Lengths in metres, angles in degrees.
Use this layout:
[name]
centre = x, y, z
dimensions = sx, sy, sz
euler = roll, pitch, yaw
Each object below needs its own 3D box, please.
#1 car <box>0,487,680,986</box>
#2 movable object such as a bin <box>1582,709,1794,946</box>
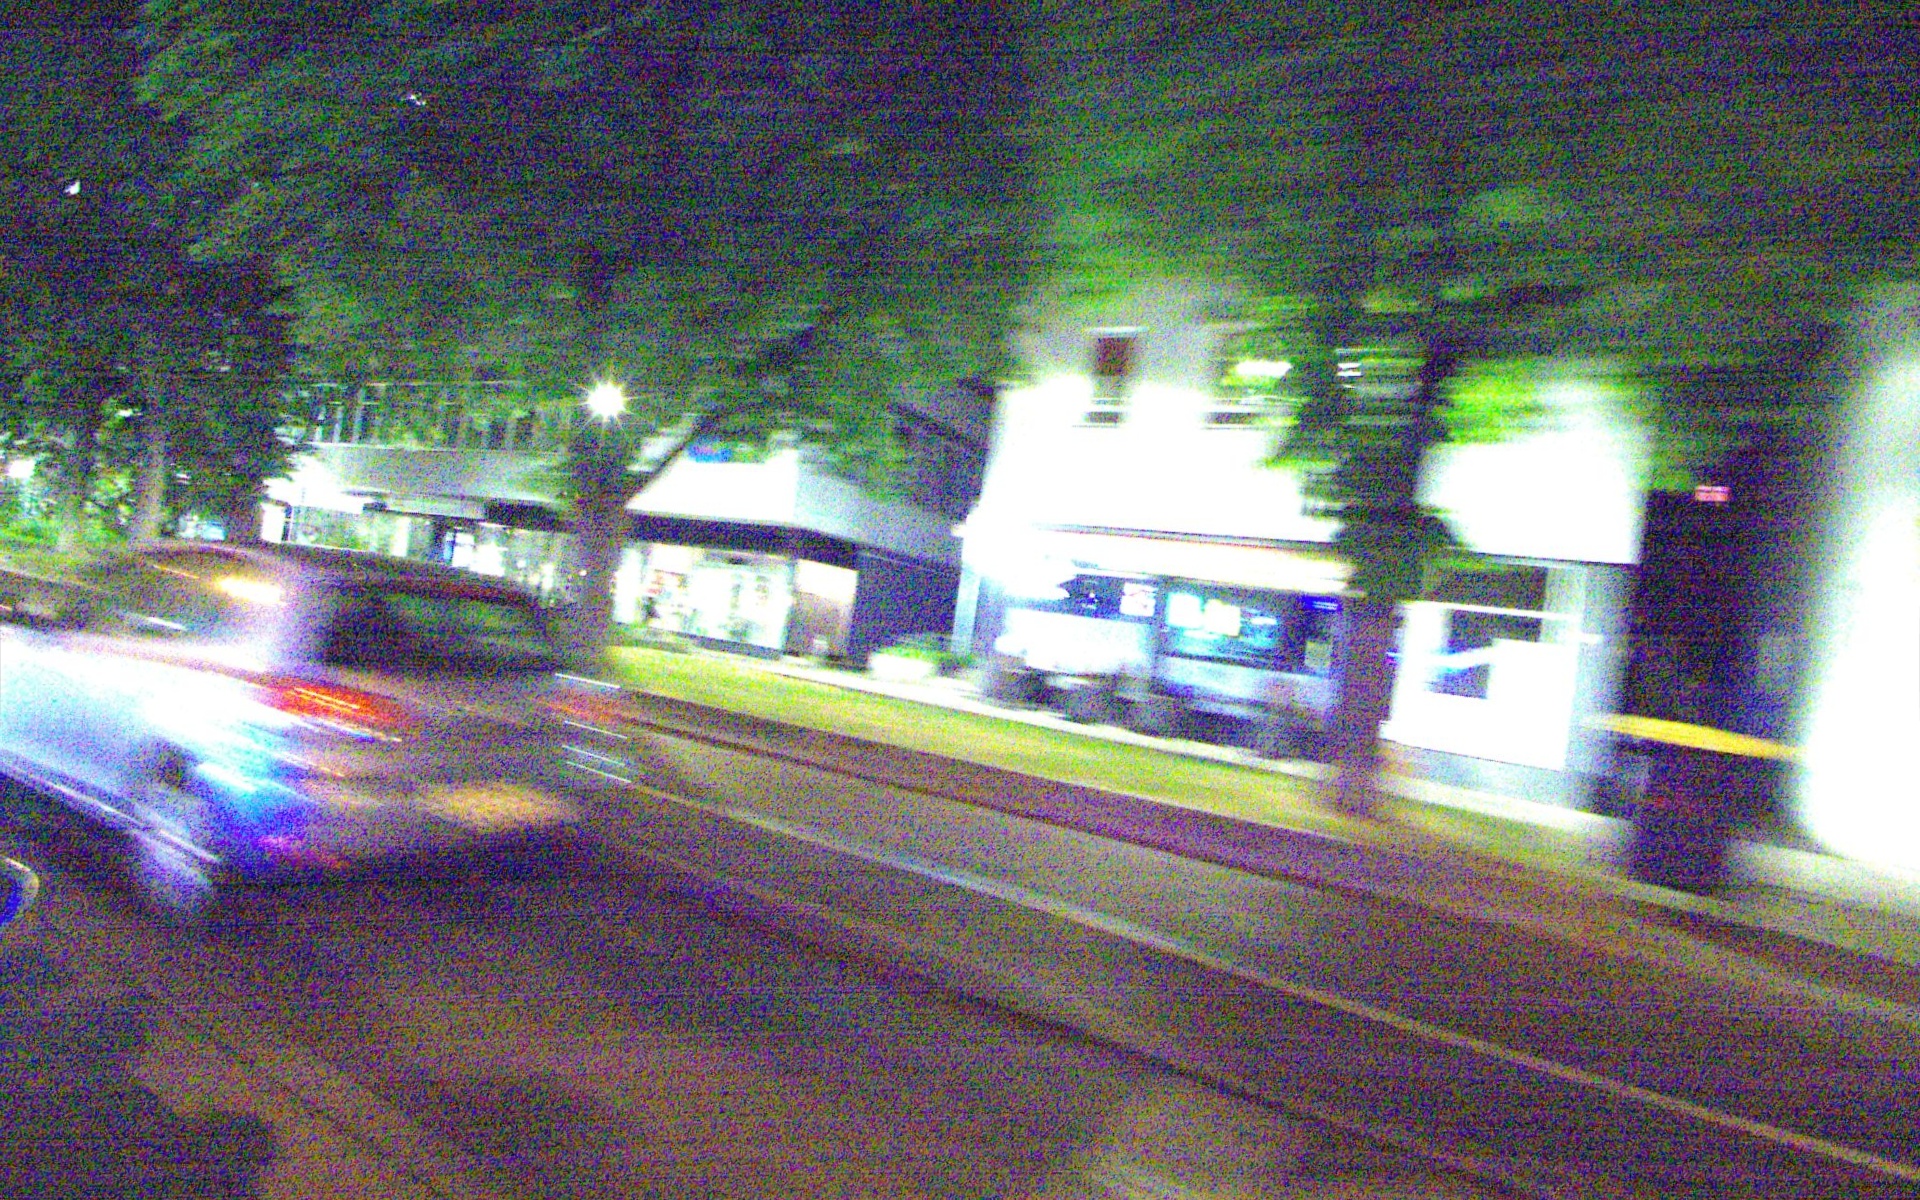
[car]
centre = -3.515, 0.387, 5.100
dimensions = 3.949, 1.555, 1.692
euler = 7, -1, 32
[movable object such as a bin]
centre = 5.179, 1.562, 7.261
dimensions = 0.976, 1.386, 1.163
euler = 7, -2, 30
